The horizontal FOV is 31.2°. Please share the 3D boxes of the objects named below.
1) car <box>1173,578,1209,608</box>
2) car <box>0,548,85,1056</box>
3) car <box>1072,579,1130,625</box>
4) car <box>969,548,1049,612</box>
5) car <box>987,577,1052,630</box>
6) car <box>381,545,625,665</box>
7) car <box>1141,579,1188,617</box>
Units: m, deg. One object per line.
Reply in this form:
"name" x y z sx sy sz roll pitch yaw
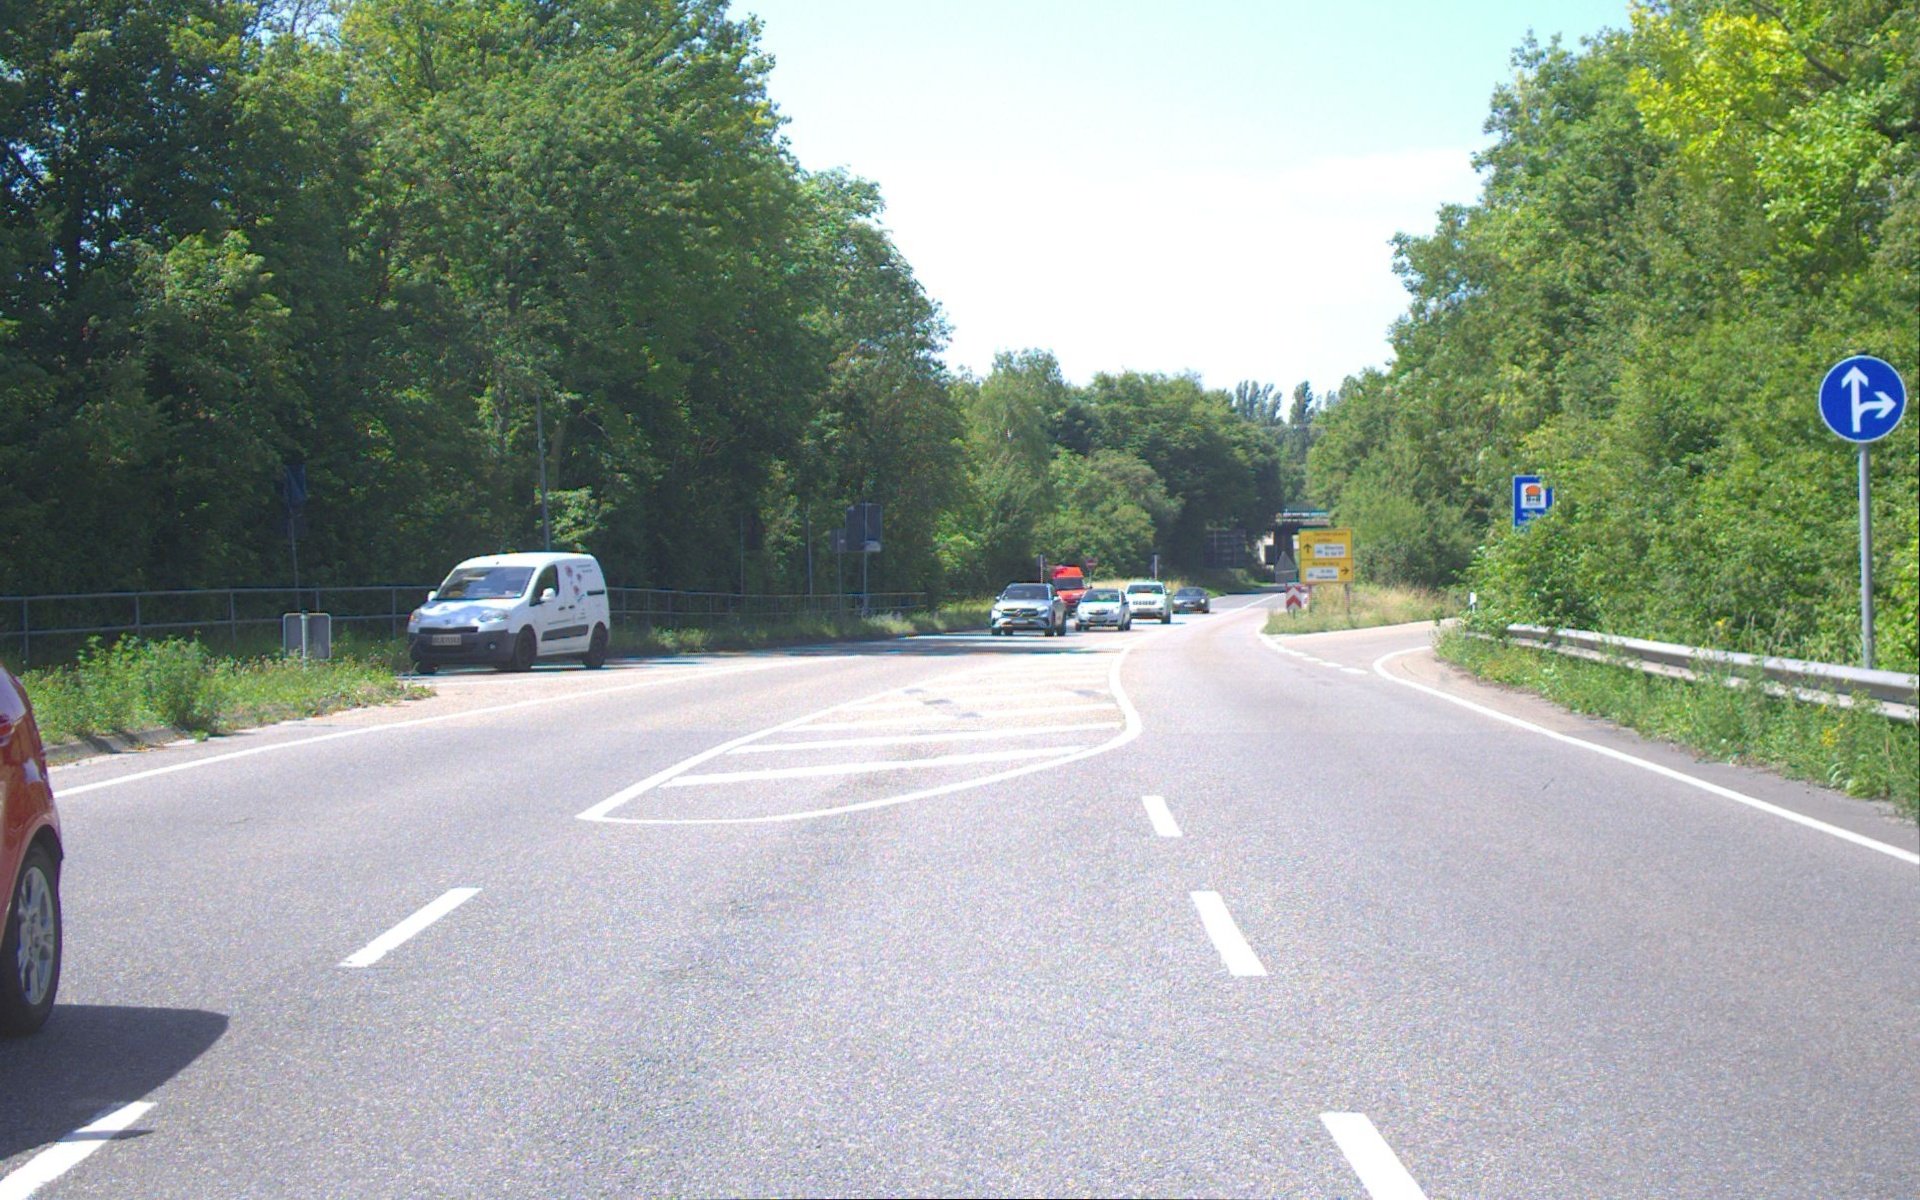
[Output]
"car" 12.054 -0.382 179.530 1.720 1.504 3.709 0 1 6
"car" -3.637 0.585 8.920 1.810 1.453 3.758 0 1 -1
"car" 4.985 0.066 121.082 1.678 1.522 3.999 0 1 8
"car" 2.508 -1.055 177.597 1.993 3.215 4.809 -1 1 -28
"car" 1.835 0.098 105.172 1.677 1.522 3.999 0 1 5
"car" -6.881 0.050 52.261 1.995 1.724 4.270 0 1 18
"car" 8.470 -0.097 142.126 1.720 1.523 3.709 0 1 6
